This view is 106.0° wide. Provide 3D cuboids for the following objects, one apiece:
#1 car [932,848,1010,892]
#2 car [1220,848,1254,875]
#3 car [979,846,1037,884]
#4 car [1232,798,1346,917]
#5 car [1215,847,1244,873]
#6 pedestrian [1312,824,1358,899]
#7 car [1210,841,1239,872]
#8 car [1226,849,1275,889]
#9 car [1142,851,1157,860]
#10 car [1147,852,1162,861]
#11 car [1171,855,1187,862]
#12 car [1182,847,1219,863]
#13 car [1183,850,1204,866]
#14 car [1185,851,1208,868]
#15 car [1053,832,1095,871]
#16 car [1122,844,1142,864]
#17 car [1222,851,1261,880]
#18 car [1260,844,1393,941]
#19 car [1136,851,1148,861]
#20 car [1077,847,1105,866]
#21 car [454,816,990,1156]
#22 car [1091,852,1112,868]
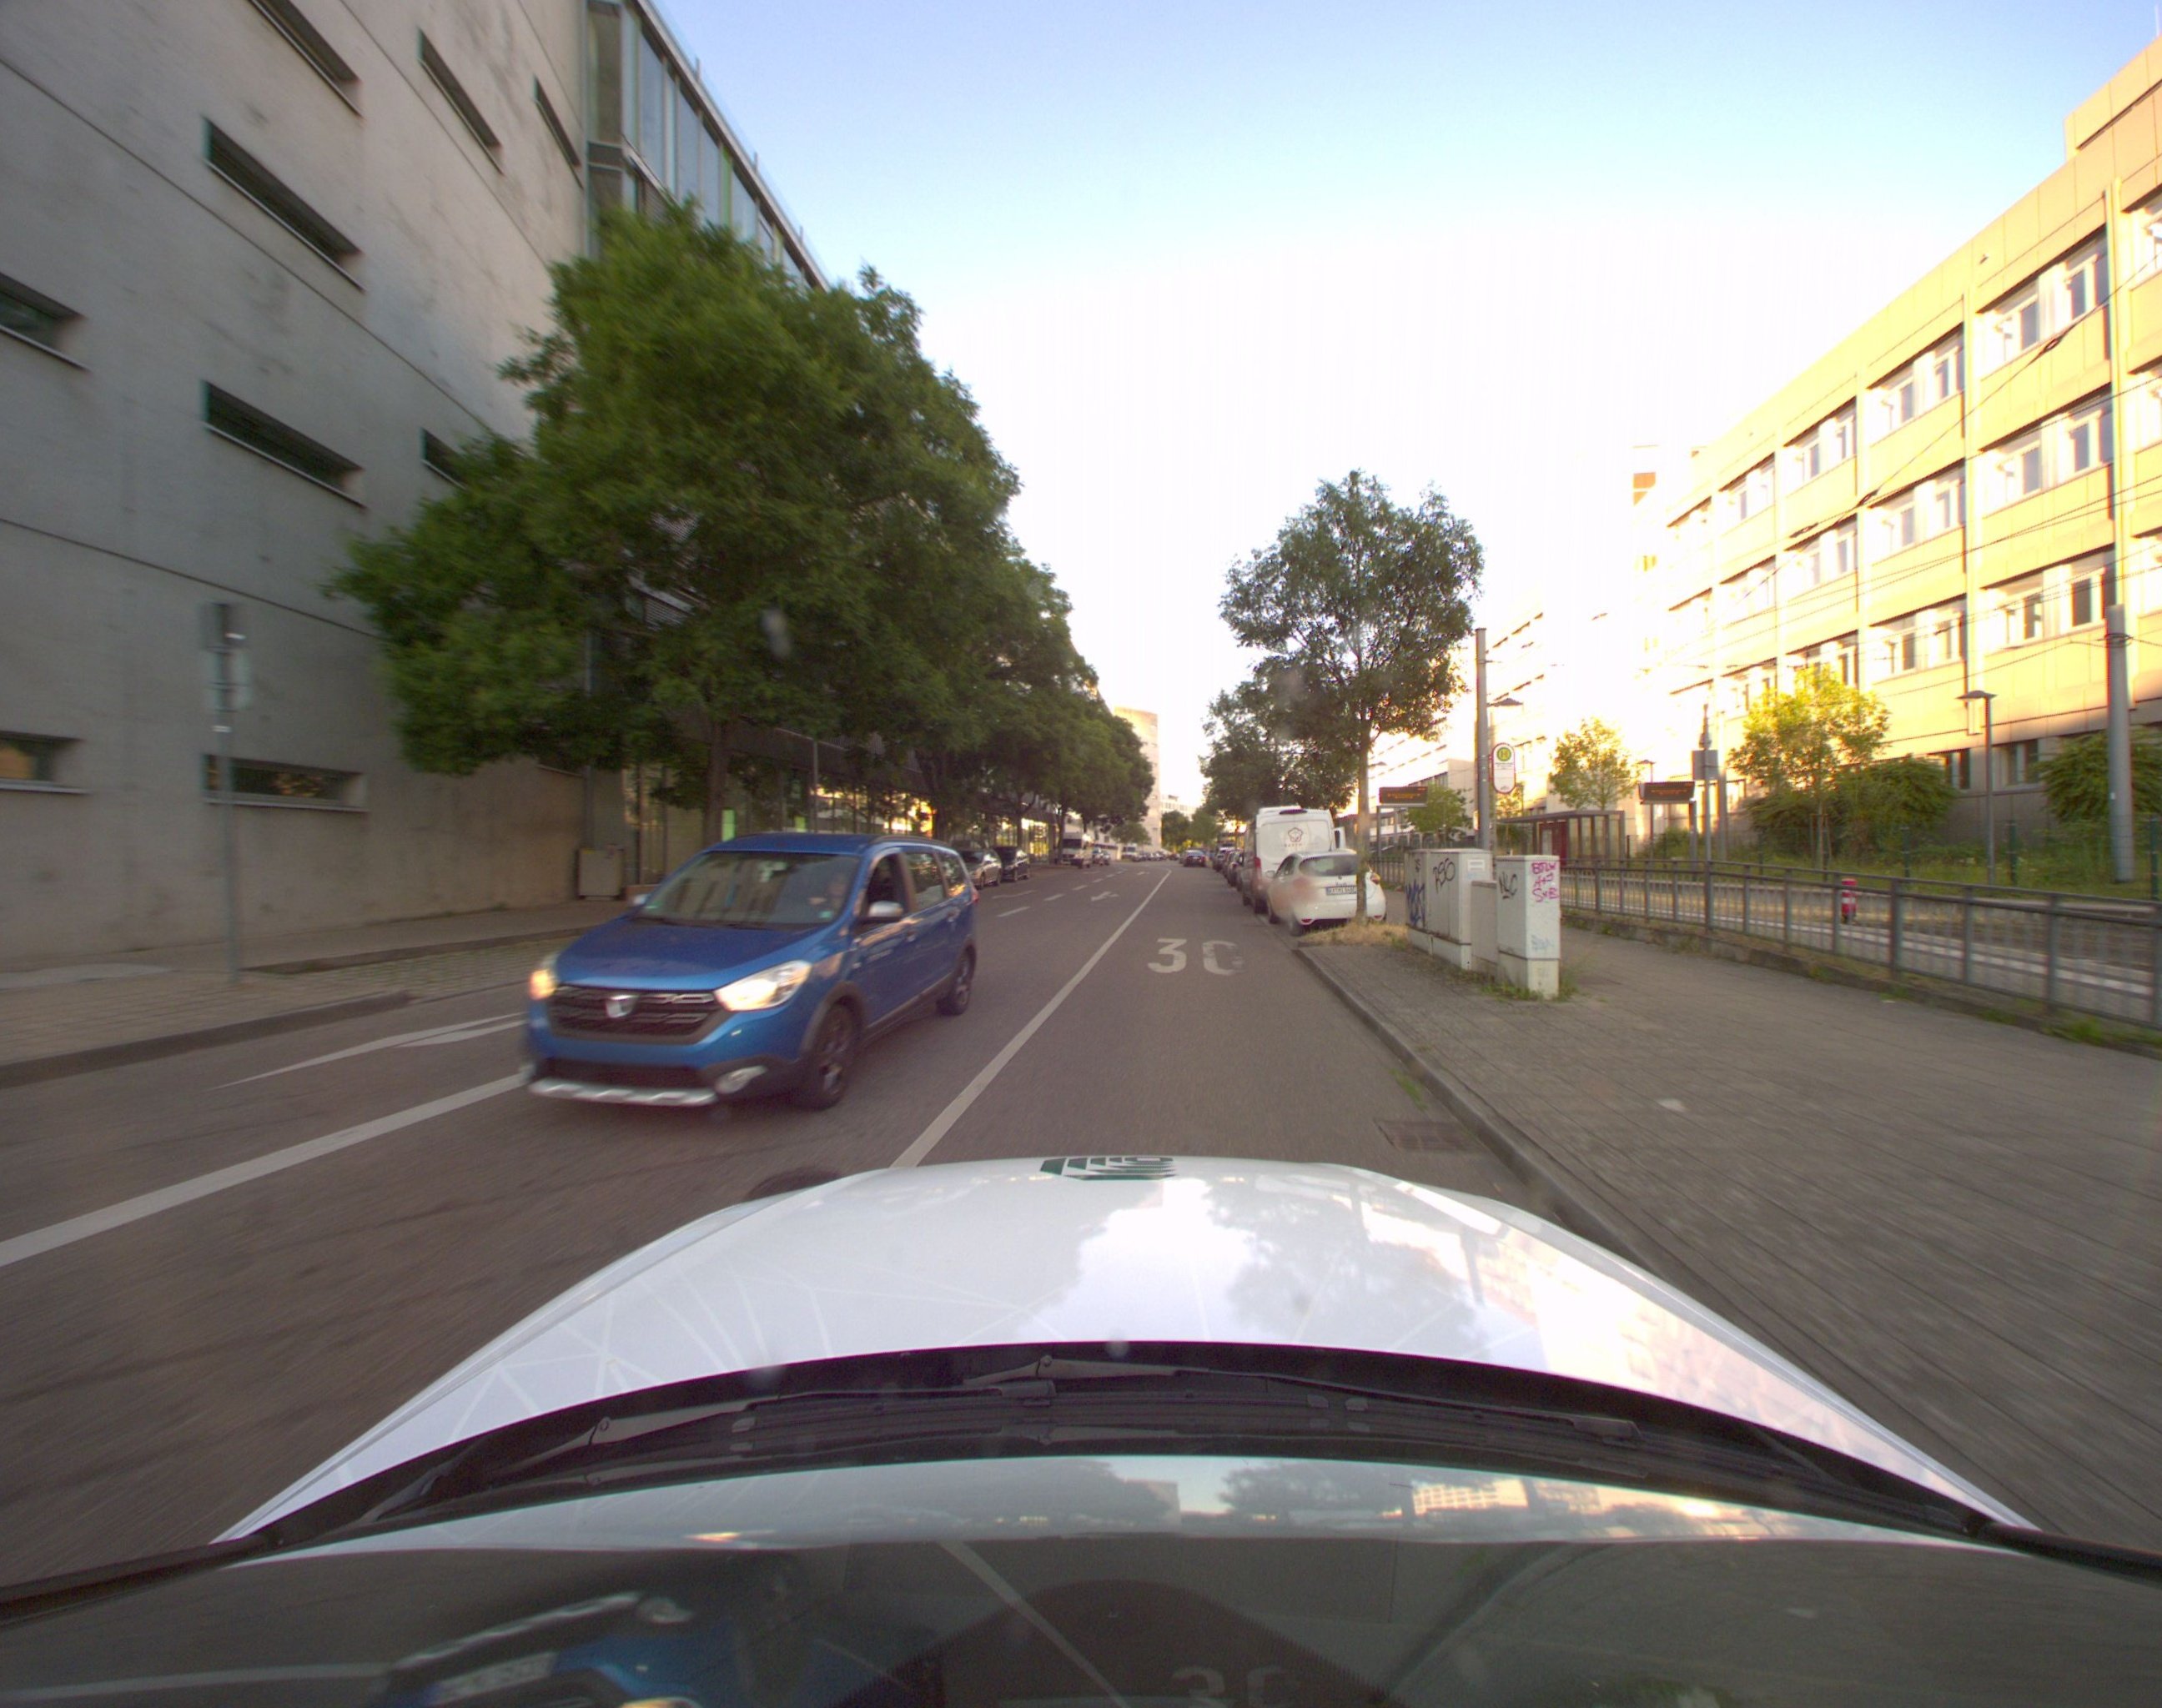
[{"bbox_3d":[-4.074,0.559,30.808,1.694,1.461,4.636,3,1,7],"label":"car"},{"bbox_3d":[9.454,0.434,49.476,1.698,1.493,4.139,-2,0,7],"label":"car"},{"bbox_3d":[-3.208,0.447,36.745,1.581,1.568,4.481,3,1,7],"label":"car"},{"bbox_3d":[5.356,0.090,21.715,2.040,2.657,5.444,-4,0,6],"label":"car"},{"bbox_3d":[9.908,0.386,54.539,1.697,1.580,4.490,-2,0,9],"label":"car"},{"bbox_3d":[7.075,0.202,22.711,0.984,2.013,0.799,0,0,-38],"label":"pedestrian"},{"bbox_3d":[10.734,0.159,61.105,1.794,2.176,4.745,-2,0,7],"label":"car"},{"bbox_3d":[7.245,0.600,35.161,1.786,1.496,4.792,-4,0,9],"label":"car"},{"bbox_3d":[11.843,0.250,140.473,1.710,1.457,4.287,2,1,14],"label":"car"},{"bbox_3d":[13.191,0.419,145.981,1.709,1.457,4.715,2,1,18],"label":"car"},{"bbox_3d":[19.268,0.882,160.389,1.927,1.382,4.424,2,1,24],"label":"car"},{"bbox_3d":[15.995,0.149,108.692,4.612,2.035,1.855,1,0,-26],"label":"car"},{"bbox_3d":[10.607,0.360,76.956,1.668,1.452,4.193,0,0,5],"label":"car"},{"bbox_3d":[10.060,0.448,71.072,1.779,1.452,4.521,0,0,5],"label":"car"},{"bbox_3d":[-0.414,-0.185,58.727,2.089,2.663,6.966,0,0,8],"label":"car"},{"bbox_3d":[7.025,-0.066,111.271,1.947,2.617,6.910,2,1,9],"label":"car"},{"bbox_3d":[8.500,0.582,43.306,1.698,1.451,4.008,-2,0,7],"label":"car"},{"bbox_3d":[4.727,0.674,16.249,1.739,1.583,4.020,-4,0,6],"label":"car"},{"bbox_3d":[9.982,0.317,132.453,1.746,1.653,3.956,2,1,7],"label":"car"},{"bbox_3d":[0.908,0.163,69.592,1.834,1.571,4.277,0,0,8],"label":"car"},{"bbox_3d":[-2.093,0.642,6.256,1.738,1.678,4.283,0,0,8],"label":"car"},{"bbox_3d":[1.910,0.525,75.051,1.707,1.452,4.403,0,0,4],"label":"car"}]
